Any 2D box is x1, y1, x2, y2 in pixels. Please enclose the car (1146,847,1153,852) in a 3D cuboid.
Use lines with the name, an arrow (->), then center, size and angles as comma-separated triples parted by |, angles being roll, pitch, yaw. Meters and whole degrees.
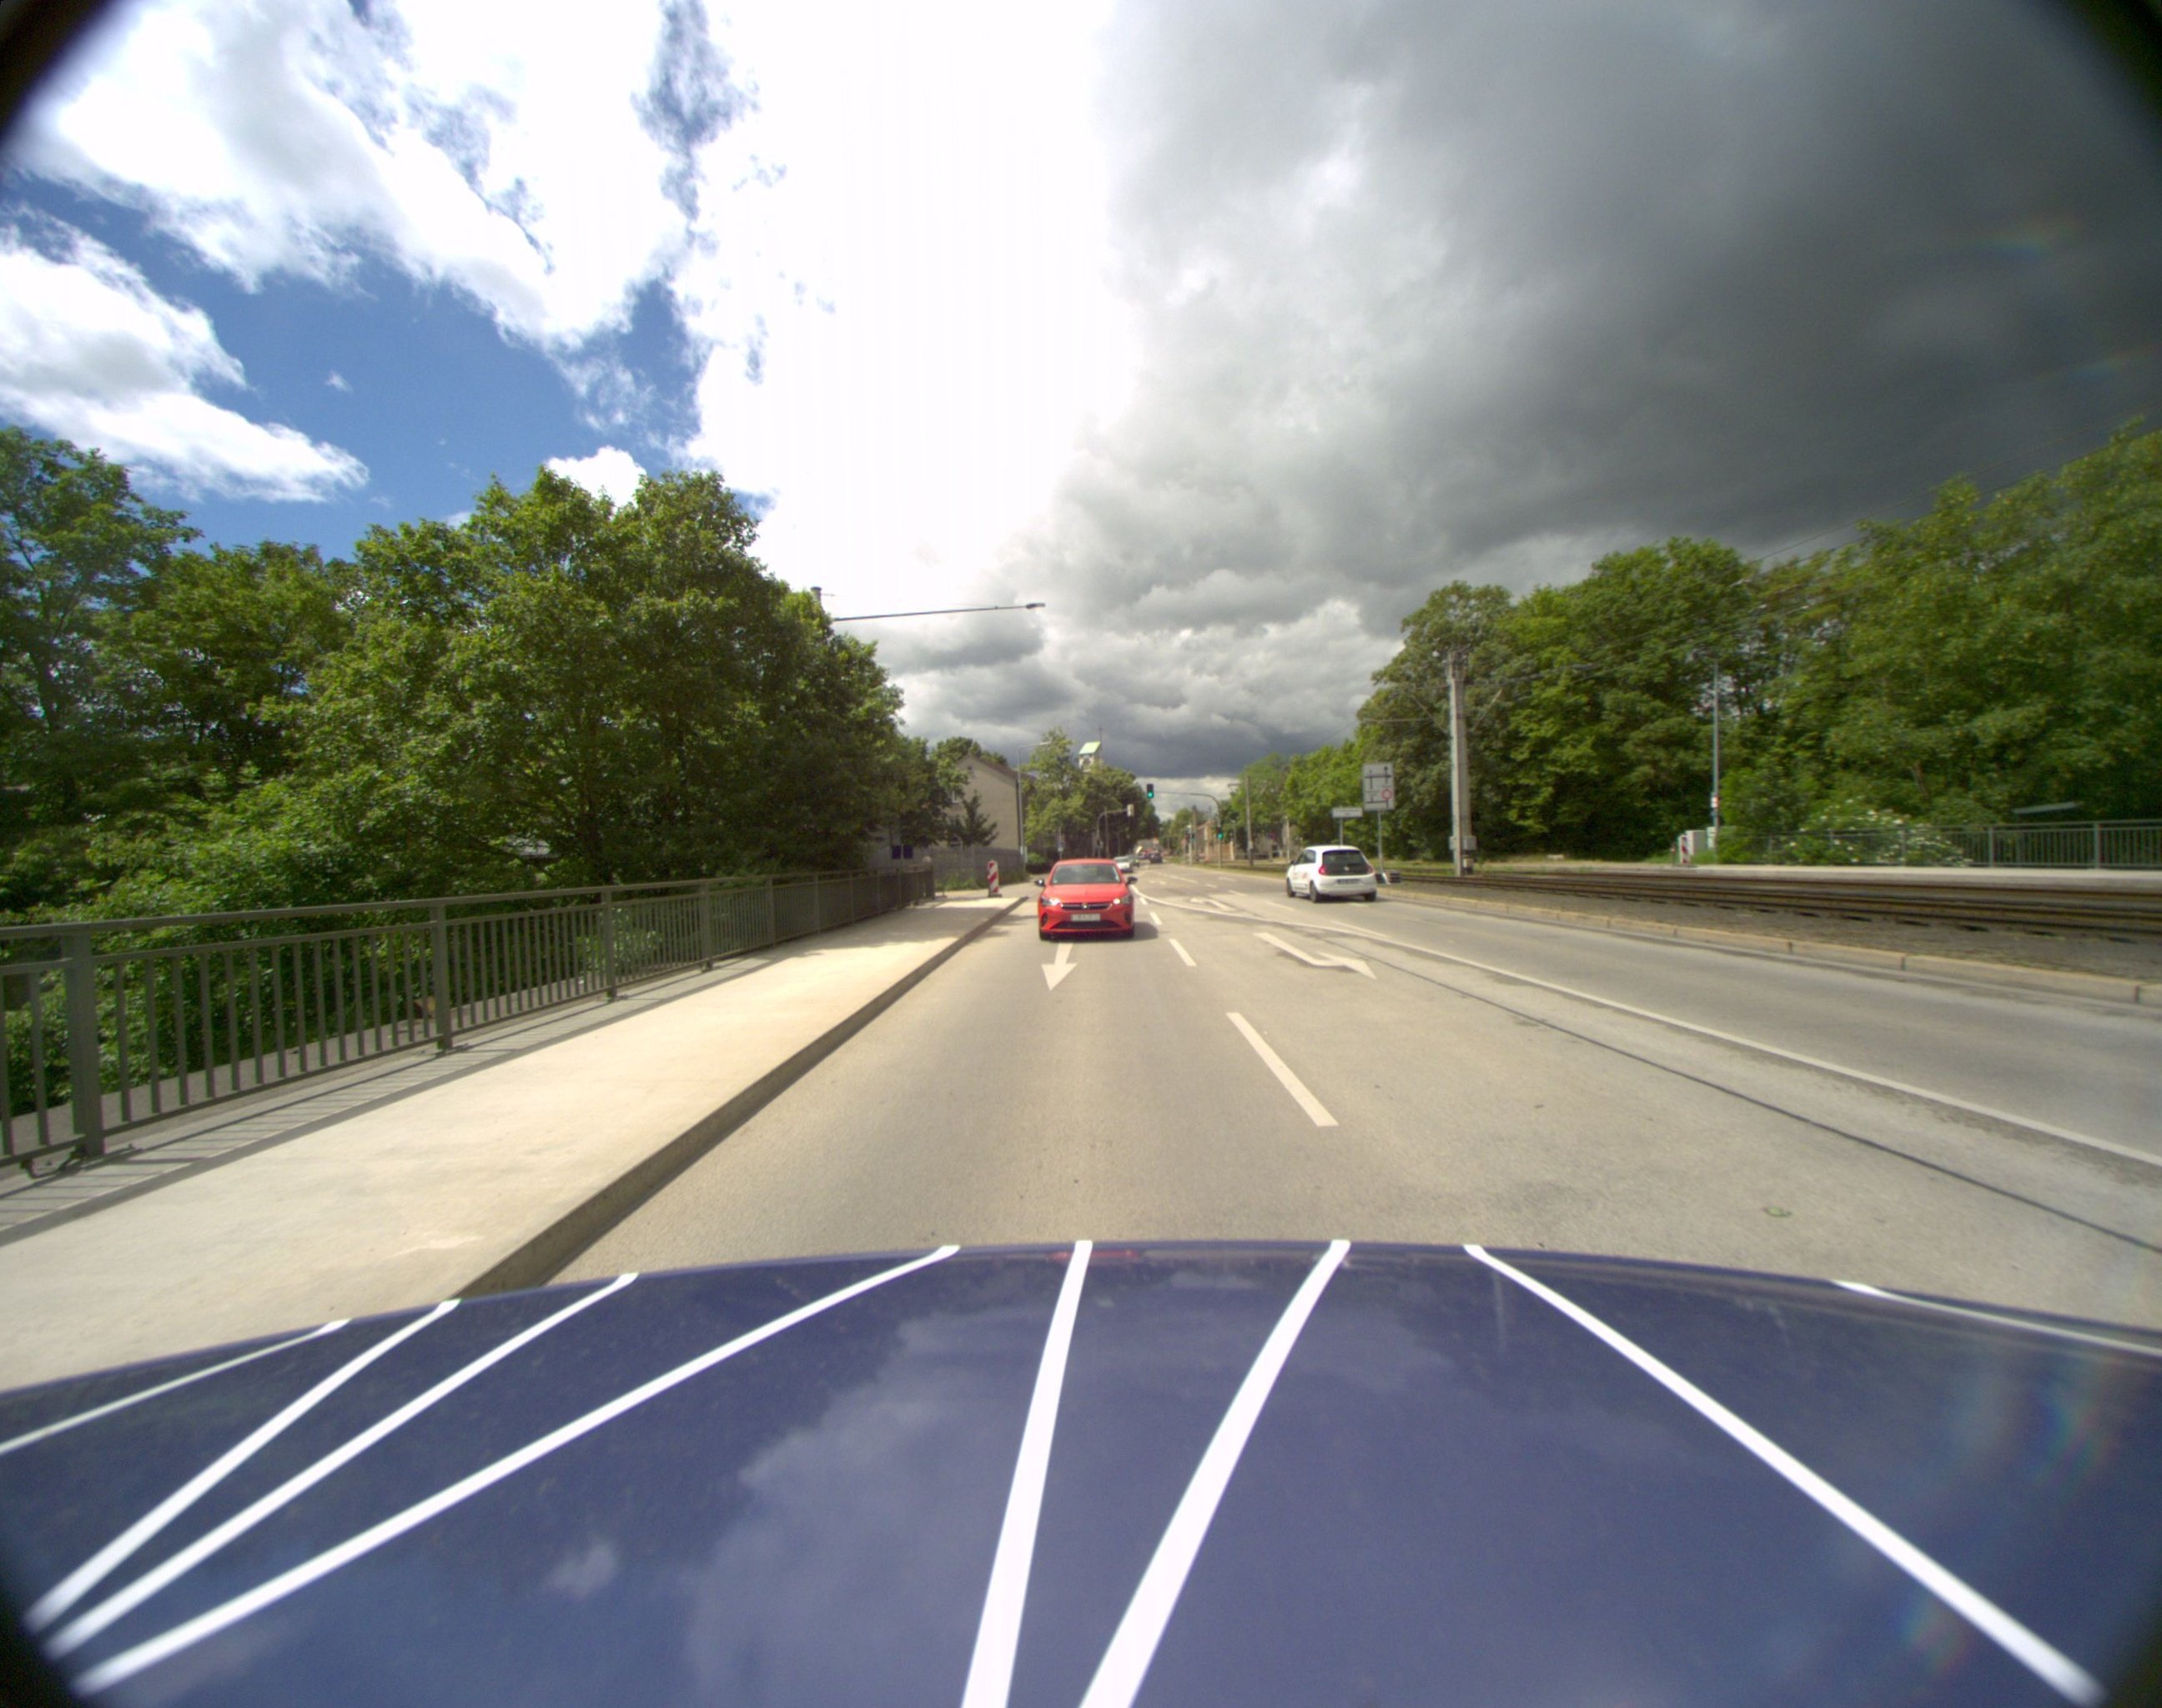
car -> 18.419, -1.209, 203.540 | 1.584, 1.477, 3.808 | -4, 0, 8

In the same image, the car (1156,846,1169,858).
car -> 12.674, -0.313, 118.622 | 1.711, 1.666, 4.229 | -4, 0, 4

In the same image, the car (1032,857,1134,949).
car -> 0.158, 0.825, 14.751 | 1.665, 1.513, 3.787 | 0, 0, 5

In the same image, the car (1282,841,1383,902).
car -> 6.994, 0.433, 21.497 | 1.597, 1.518, 3.654 | -2, 1, 0

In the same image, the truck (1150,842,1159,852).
truck -> 20.451, -1.904, 210.820 | 2.095, 2.723, 5.098 | -4, 1, 3

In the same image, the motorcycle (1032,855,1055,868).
motorcycle -> -3.941, 0.799, 80.203 | 2.208, 1.275, 0.681 | -2, 2, 14
